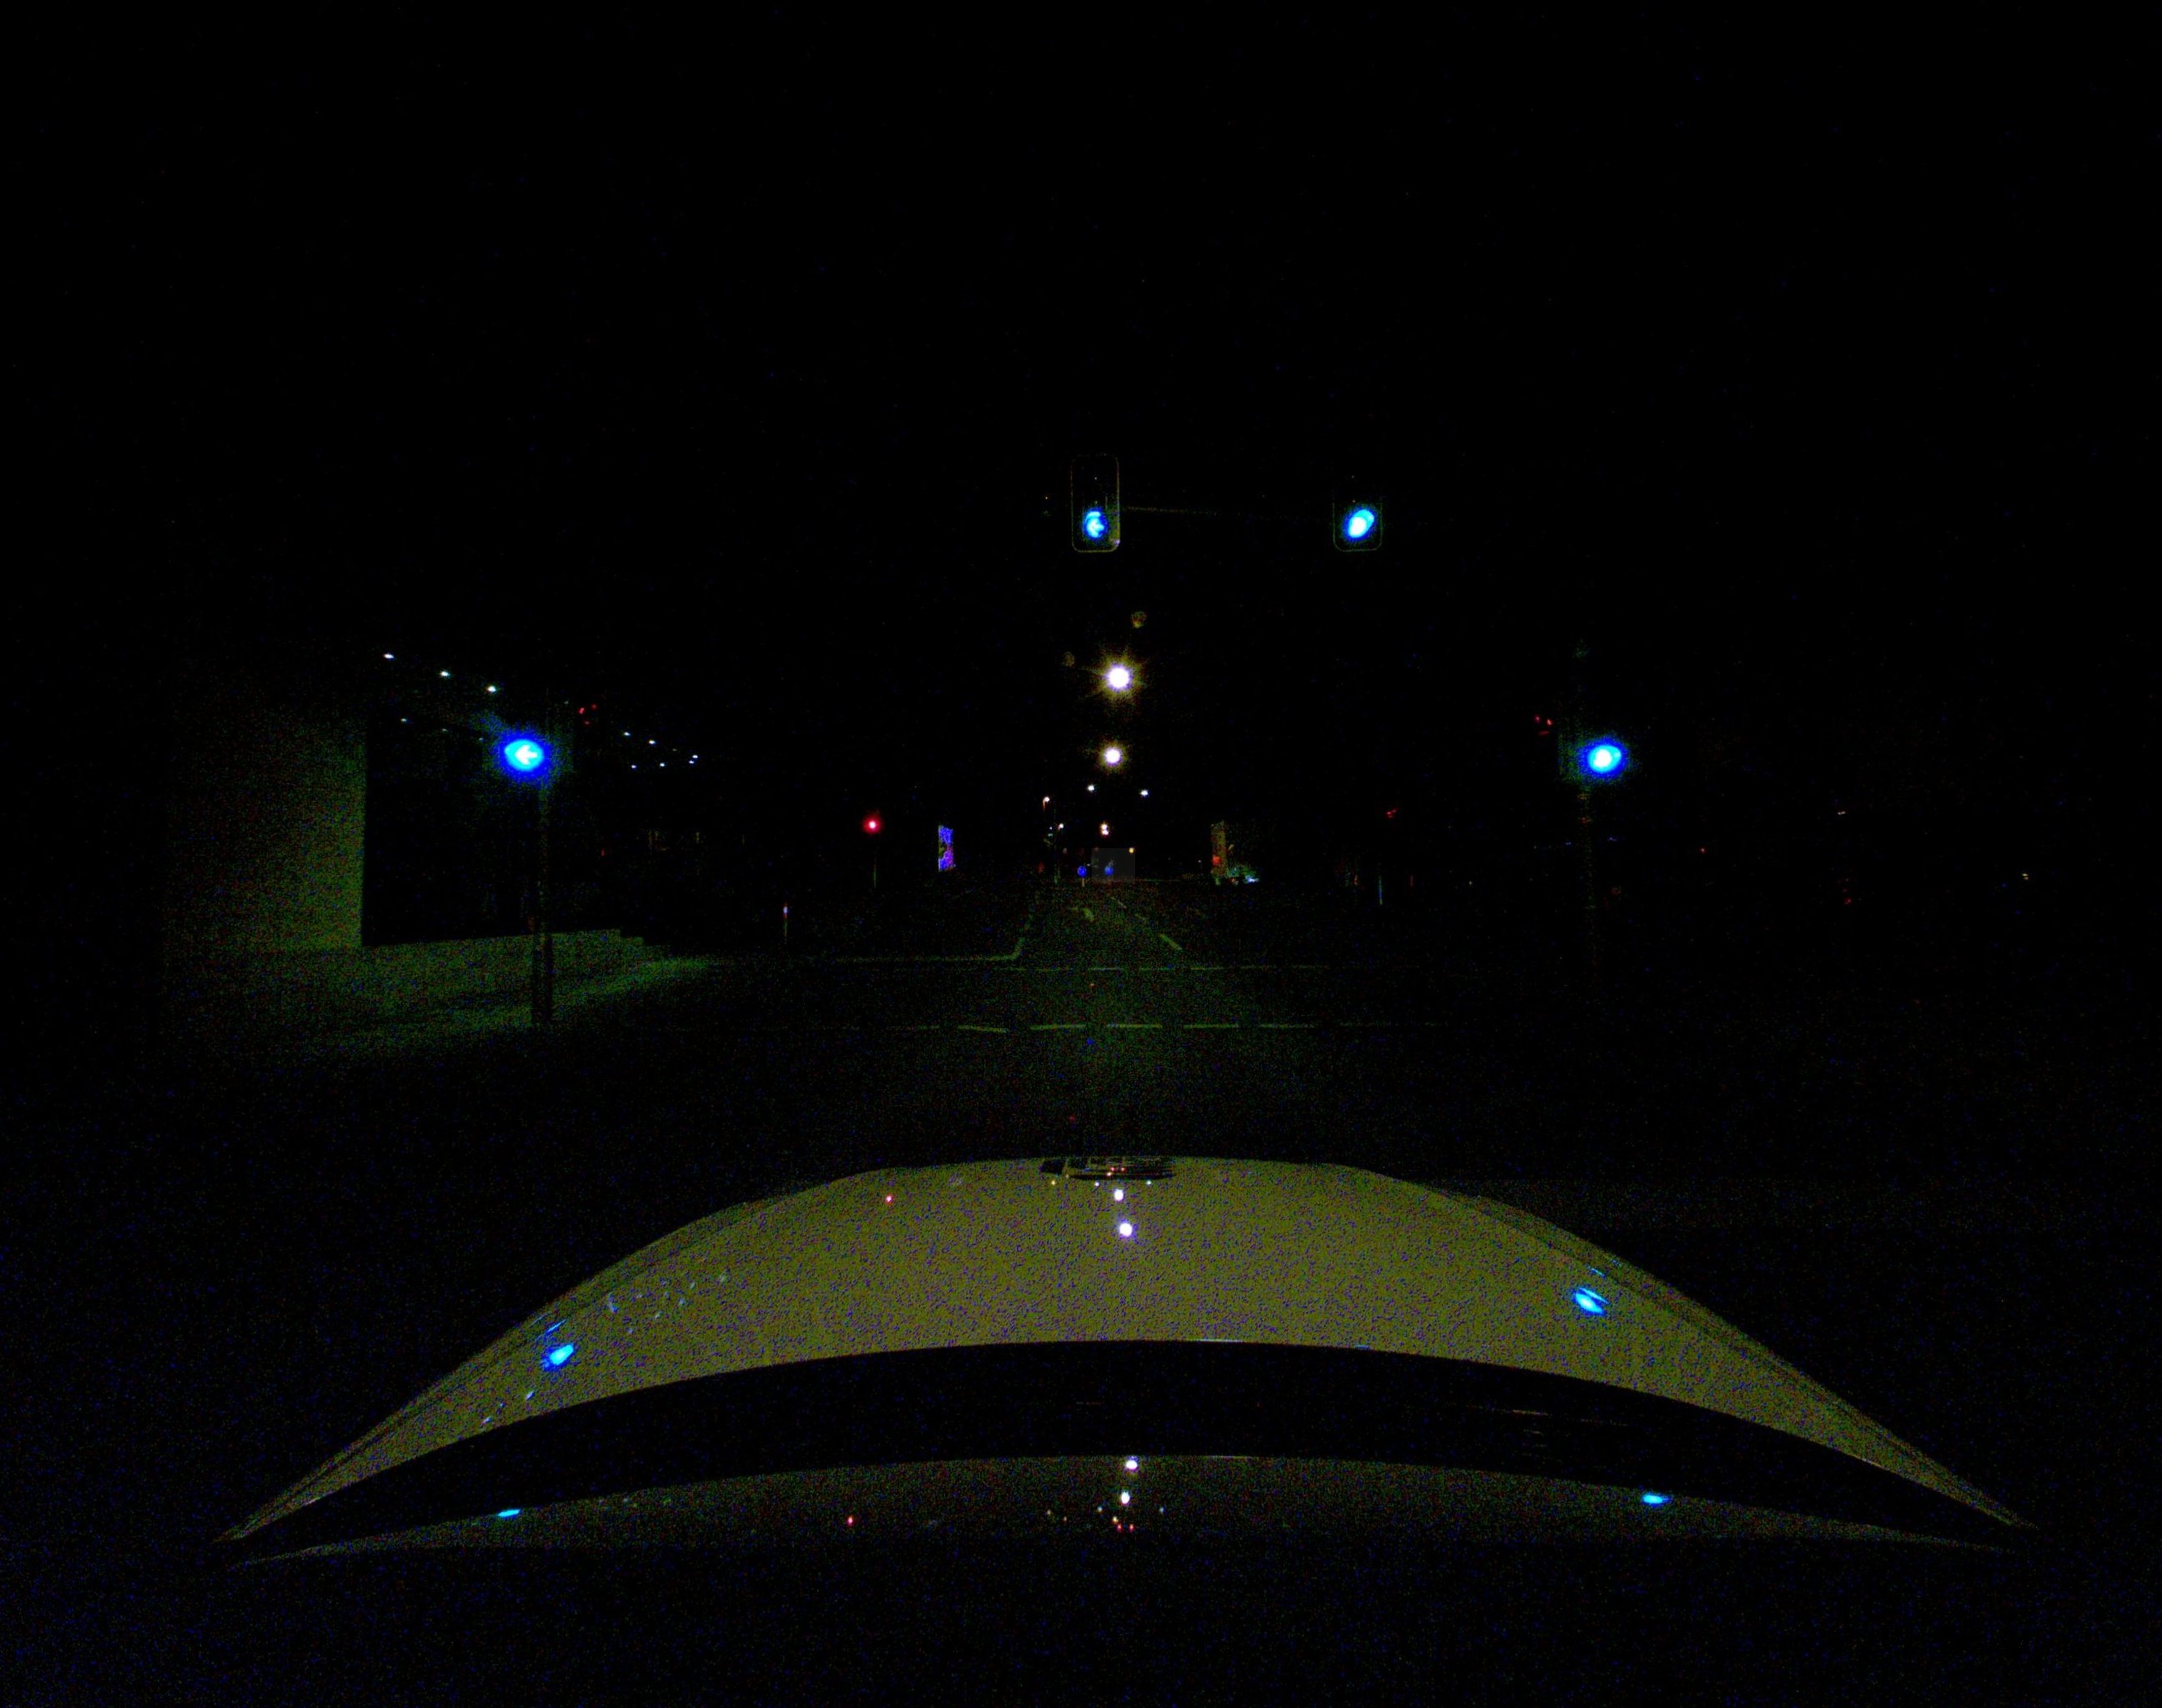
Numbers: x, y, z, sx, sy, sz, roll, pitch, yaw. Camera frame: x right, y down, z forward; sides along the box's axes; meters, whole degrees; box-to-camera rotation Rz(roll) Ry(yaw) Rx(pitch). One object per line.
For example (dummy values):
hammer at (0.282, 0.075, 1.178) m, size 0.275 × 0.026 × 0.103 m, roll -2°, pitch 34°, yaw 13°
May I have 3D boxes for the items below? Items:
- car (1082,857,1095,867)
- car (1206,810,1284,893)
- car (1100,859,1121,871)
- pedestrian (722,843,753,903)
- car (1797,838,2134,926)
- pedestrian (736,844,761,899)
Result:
car at (1.254, 1.359, 134.502) m, size 1.901 × 1.558 × 3.906 m, roll 0°, pitch -1°, yaw 2°
car at (6.768, -0.087, 34.257) m, size 2.287 × 3.093 × 5.845 m, roll -2°, pitch -1°, yaw 3°
car at (3.704, 1.357, 102.437) m, size 1.777 × 1.486 × 3.984 m, roll 0°, pitch -1°, yaw -11°
pedestrian at (-10.360, 0.565, 24.589) m, size 0.568 × 1.778 × 0.737 m, roll 1°, pitch -1°, yaw 1°
car at (17.464, 0.583, 16.322) m, size 4.342 × 1.560 × 1.807 m, roll -2°, pitch -3°, yaw 8°
pedestrian at (-10.587, 0.544, 25.963) m, size 0.568 × 1.731 × 0.544 m, roll 0°, pitch -1°, yaw 1°
